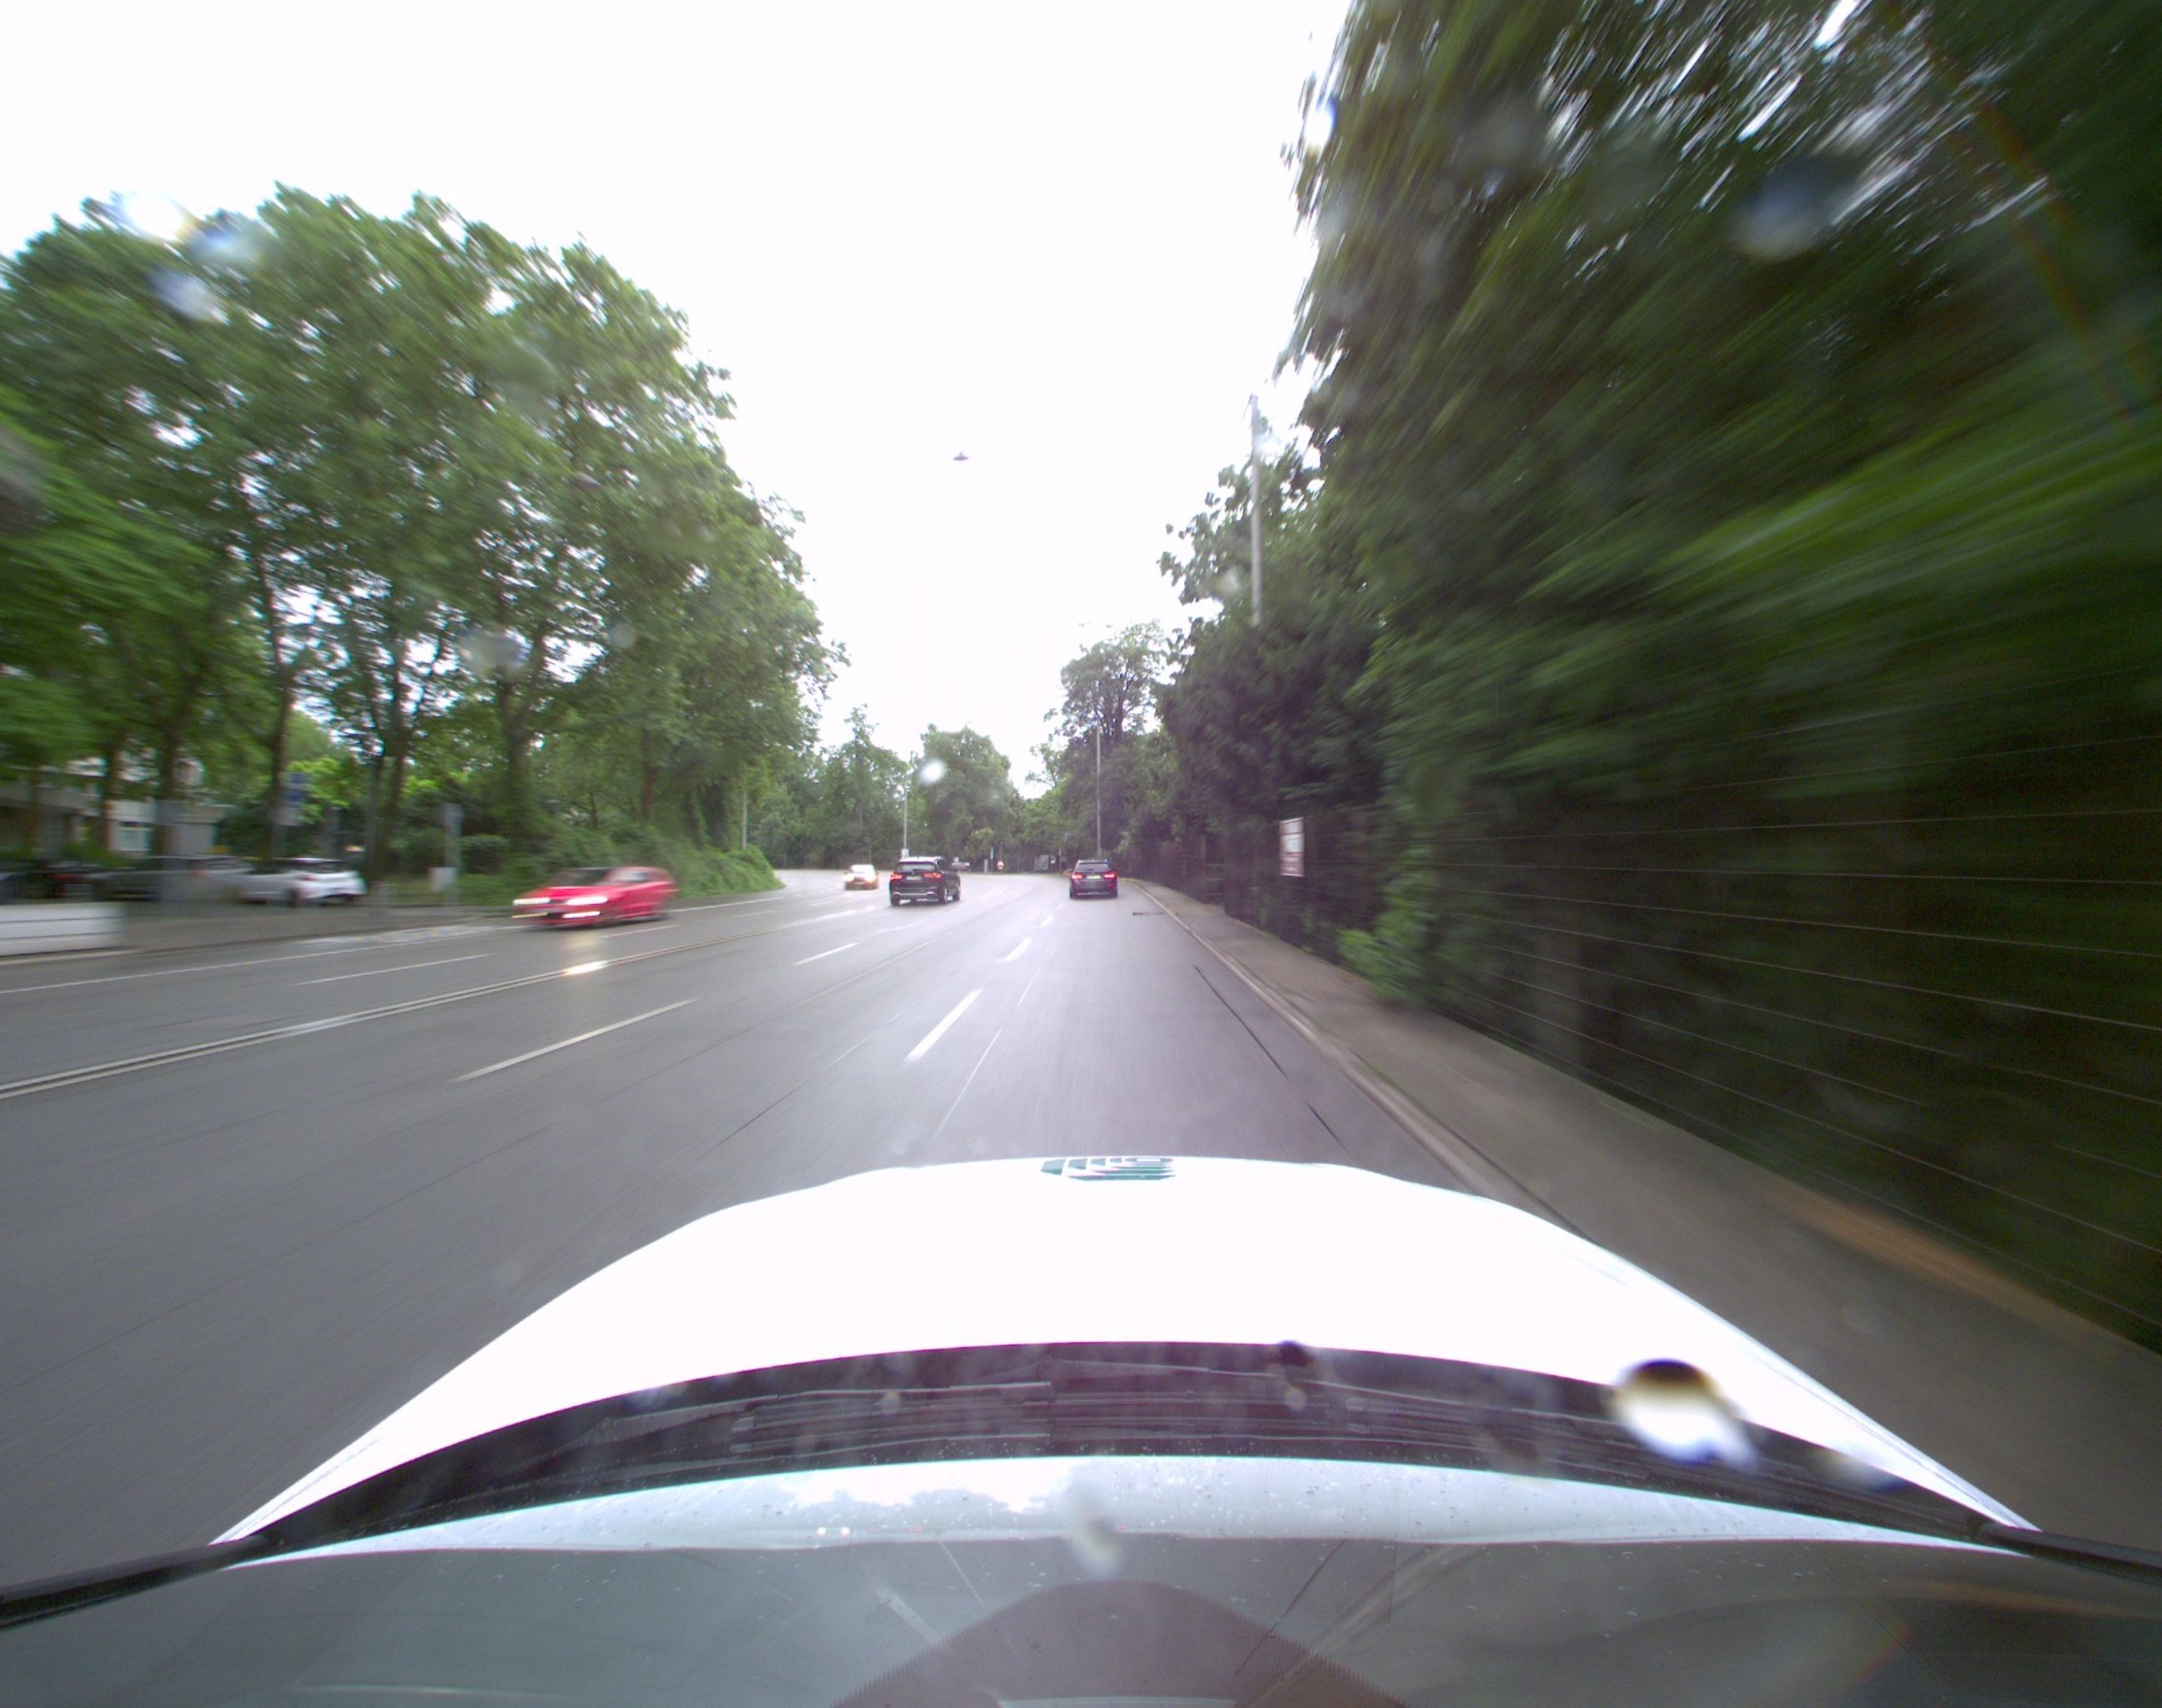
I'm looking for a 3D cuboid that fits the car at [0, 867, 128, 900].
[{"bbox_3d":[-35.120,0.990,27.767,3.474,1.026,1.783,-1,1,8],"label":"car"}]

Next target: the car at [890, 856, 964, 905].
[{"bbox_3d":[-5.383,0.873,29.041,1.752,1.586,4.412,1,0,0],"label":"car"}]

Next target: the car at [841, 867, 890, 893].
[{"bbox_3d":[-12.267,1.453,46.543,1.695,1.339,3.915,0,0,0],"label":"car"}]

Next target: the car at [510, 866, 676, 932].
[{"bbox_3d":[-11.736,1.019,19.910,1.574,1.414,3.963,0,0,1],"label":"car"}]

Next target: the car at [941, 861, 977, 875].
[{"bbox_3d":[-14.035,1.612,93.605,4.316,1.427,1.702,0,-4,44],"label":"car"}]

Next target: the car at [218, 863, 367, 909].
[{"bbox_3d":[-25.686,1.028,26.588,3.472,1.376,1.784,-1,1,10],"label":"car"}]

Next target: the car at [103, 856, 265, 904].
[{"bbox_3d":[-29.818,0.855,27.118,3.790,1.512,1.783,-1,0,8],"label":"car"}]

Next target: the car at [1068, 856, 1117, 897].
[{"bbox_3d":[0.429,0.823,31.778,1.752,1.432,4.412,-2,0,0],"label":"car"}]

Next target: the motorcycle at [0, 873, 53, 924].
[{"bbox_3d":[-25.207,1.037,18.515,0.501,1.141,2.396,0,0,4],"label":"motorcycle"}]
